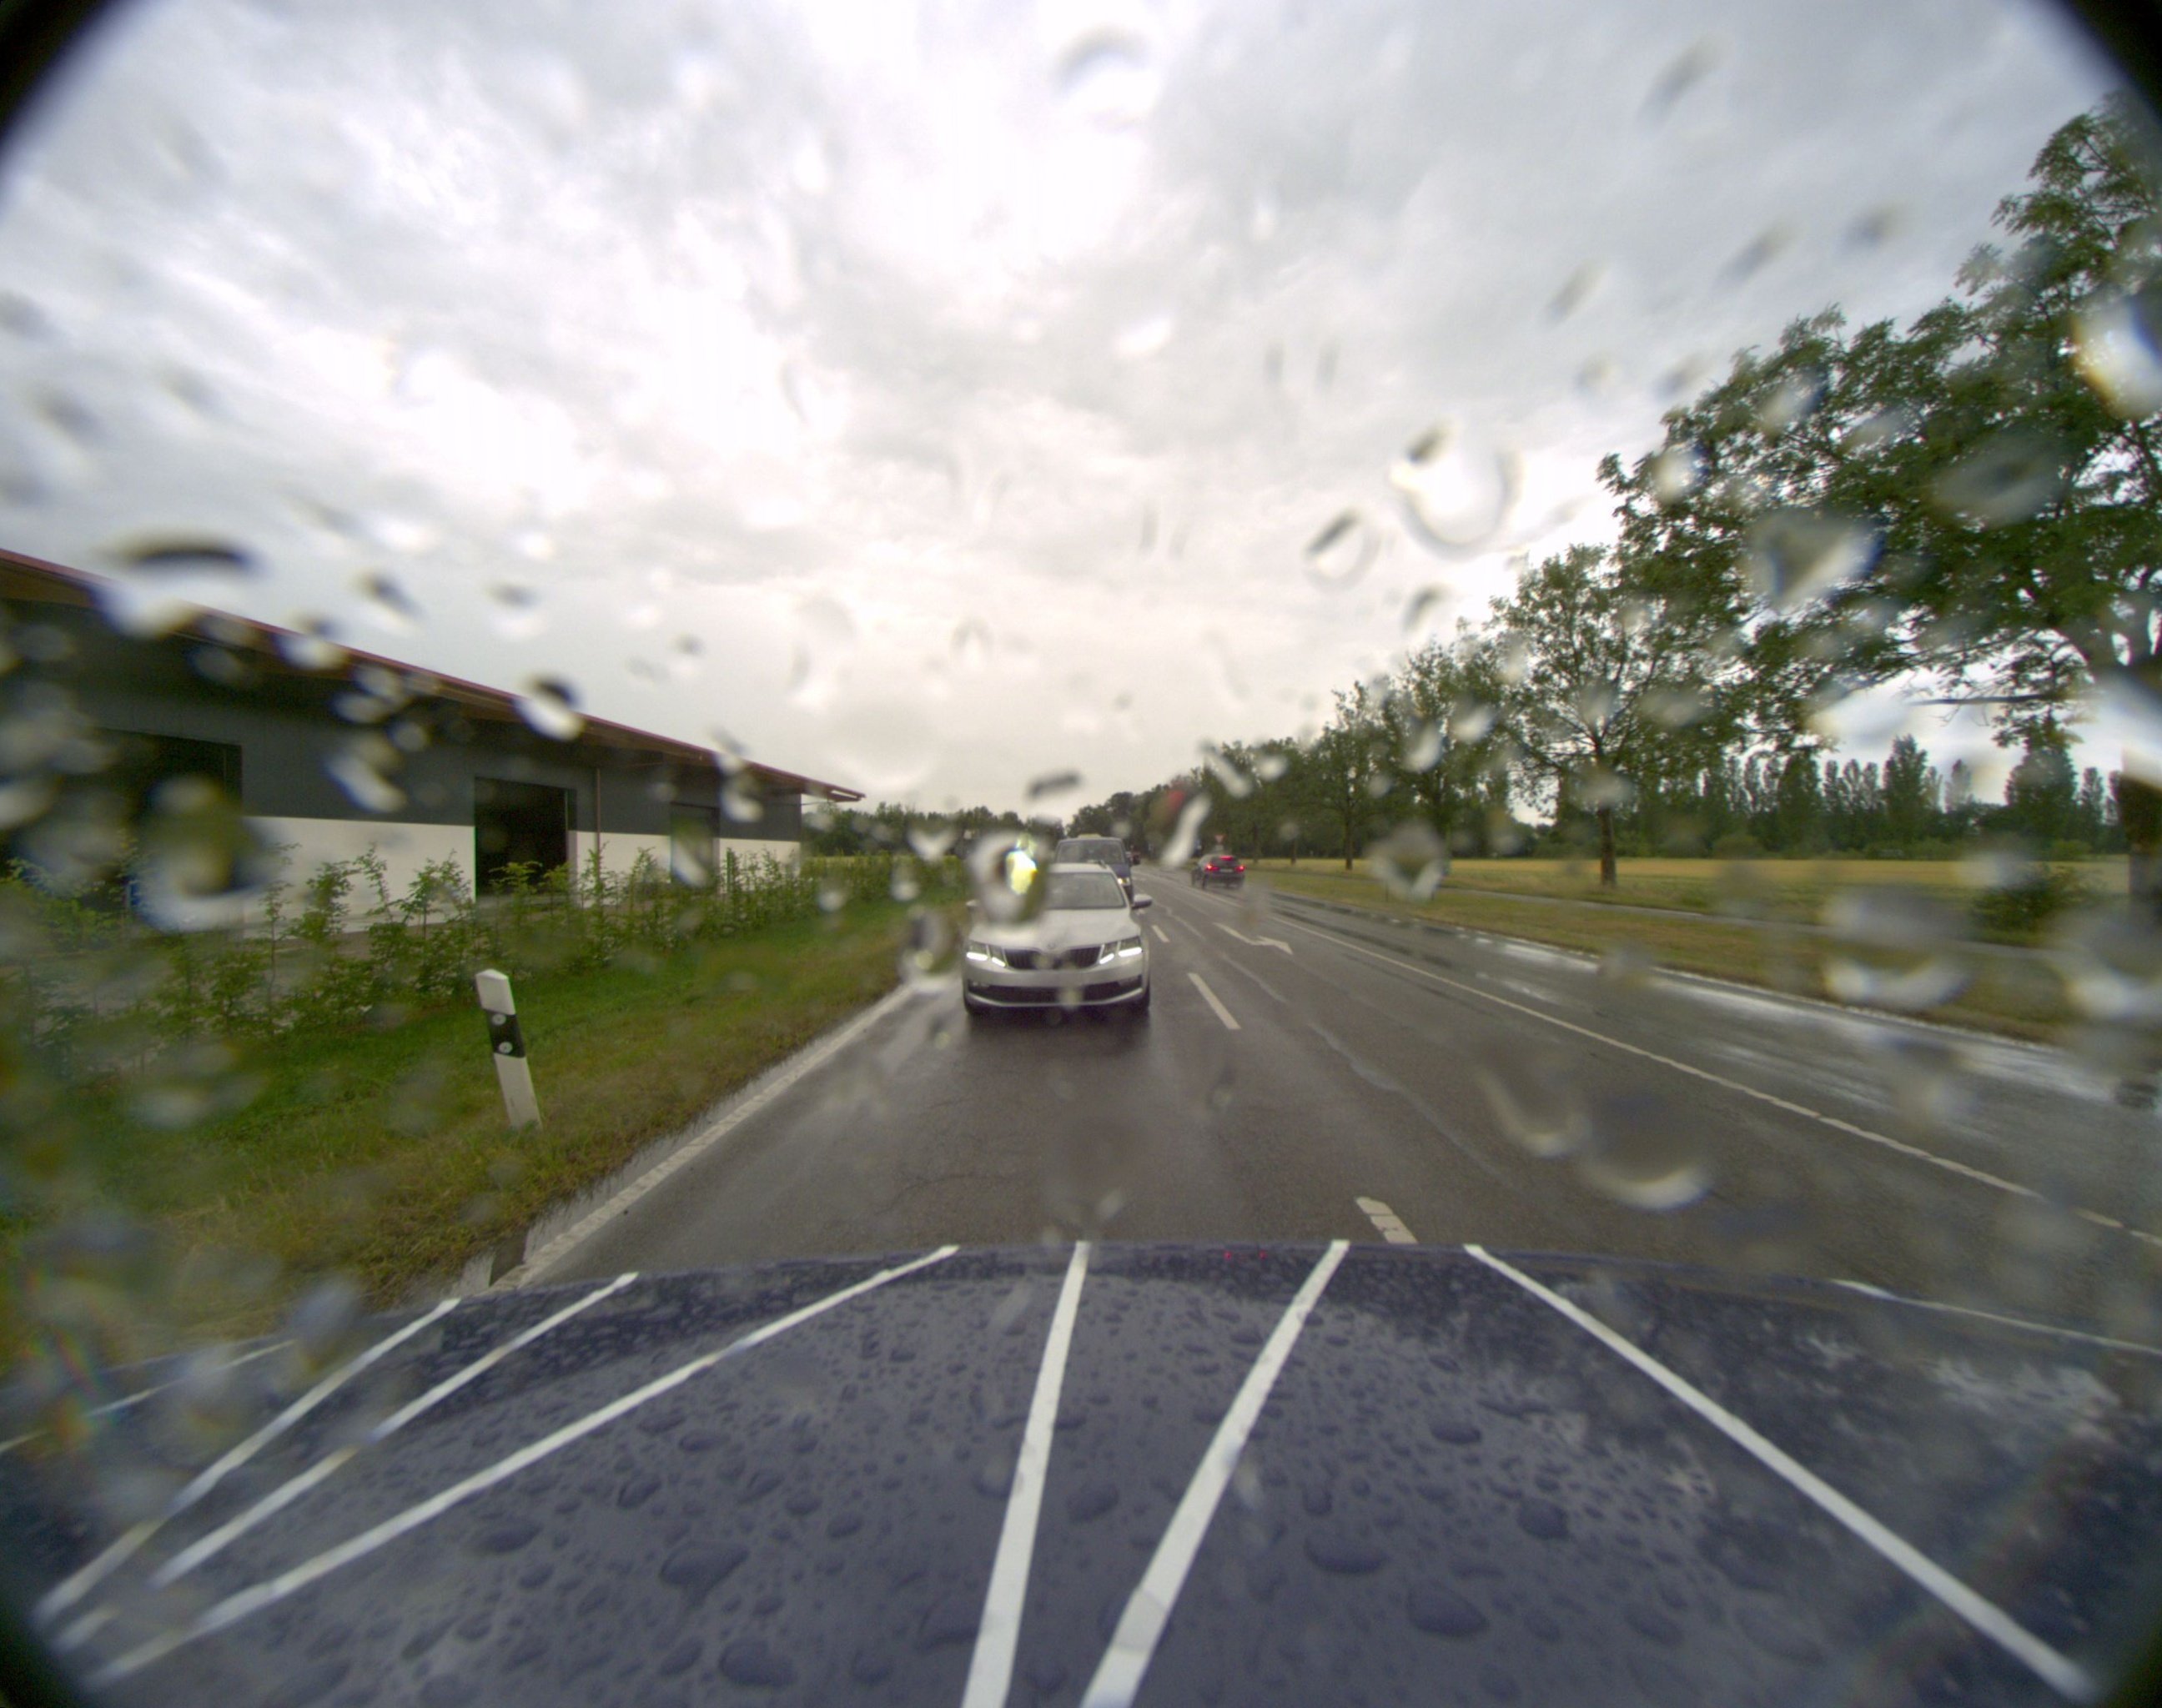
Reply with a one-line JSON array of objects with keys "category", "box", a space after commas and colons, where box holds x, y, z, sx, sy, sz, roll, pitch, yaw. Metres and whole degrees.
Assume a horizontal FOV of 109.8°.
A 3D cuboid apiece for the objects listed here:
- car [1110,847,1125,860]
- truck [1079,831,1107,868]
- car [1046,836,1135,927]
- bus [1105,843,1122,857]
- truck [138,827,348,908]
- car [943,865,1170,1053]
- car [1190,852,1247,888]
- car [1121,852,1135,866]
[{"category": "car", "box": [5.373, -0.051, 112.953, 1.921, 1.851, 4.684, 1, 1, 0]}, {"category": "truck", "box": [1.324, -0.565, 85.820, 2.931, 3.829, 14.119, 0, 1, 1]}, {"category": "car", "box": [0.223, 0.574, 18.190, 1.892, 1.939, 4.000, 0, 1, 1]}, {"category": "bus", "box": [6.990, -0.871, 163.407, 2.958, 2.895, 12.472, 0, 1, 0]}, {"category": "truck", "box": [-33.470, 0.480, 30.689, 2.496, 2.996, 5.343, 0, 1, 1]}, {"category": "car", "box": [-0.171, 0.908, 8.629, 1.843, 1.379, 4.568, -2, 1, 1]}, {"category": "car", "box": [5.990, 0.663, 33.526, 1.724, 1.396, 4.043, 1, 1, 0]}, {"category": "car", "box": [6.031, 0.600, 97.657, 1.708, 1.661, 4.156, 1, 1, 2]}]
